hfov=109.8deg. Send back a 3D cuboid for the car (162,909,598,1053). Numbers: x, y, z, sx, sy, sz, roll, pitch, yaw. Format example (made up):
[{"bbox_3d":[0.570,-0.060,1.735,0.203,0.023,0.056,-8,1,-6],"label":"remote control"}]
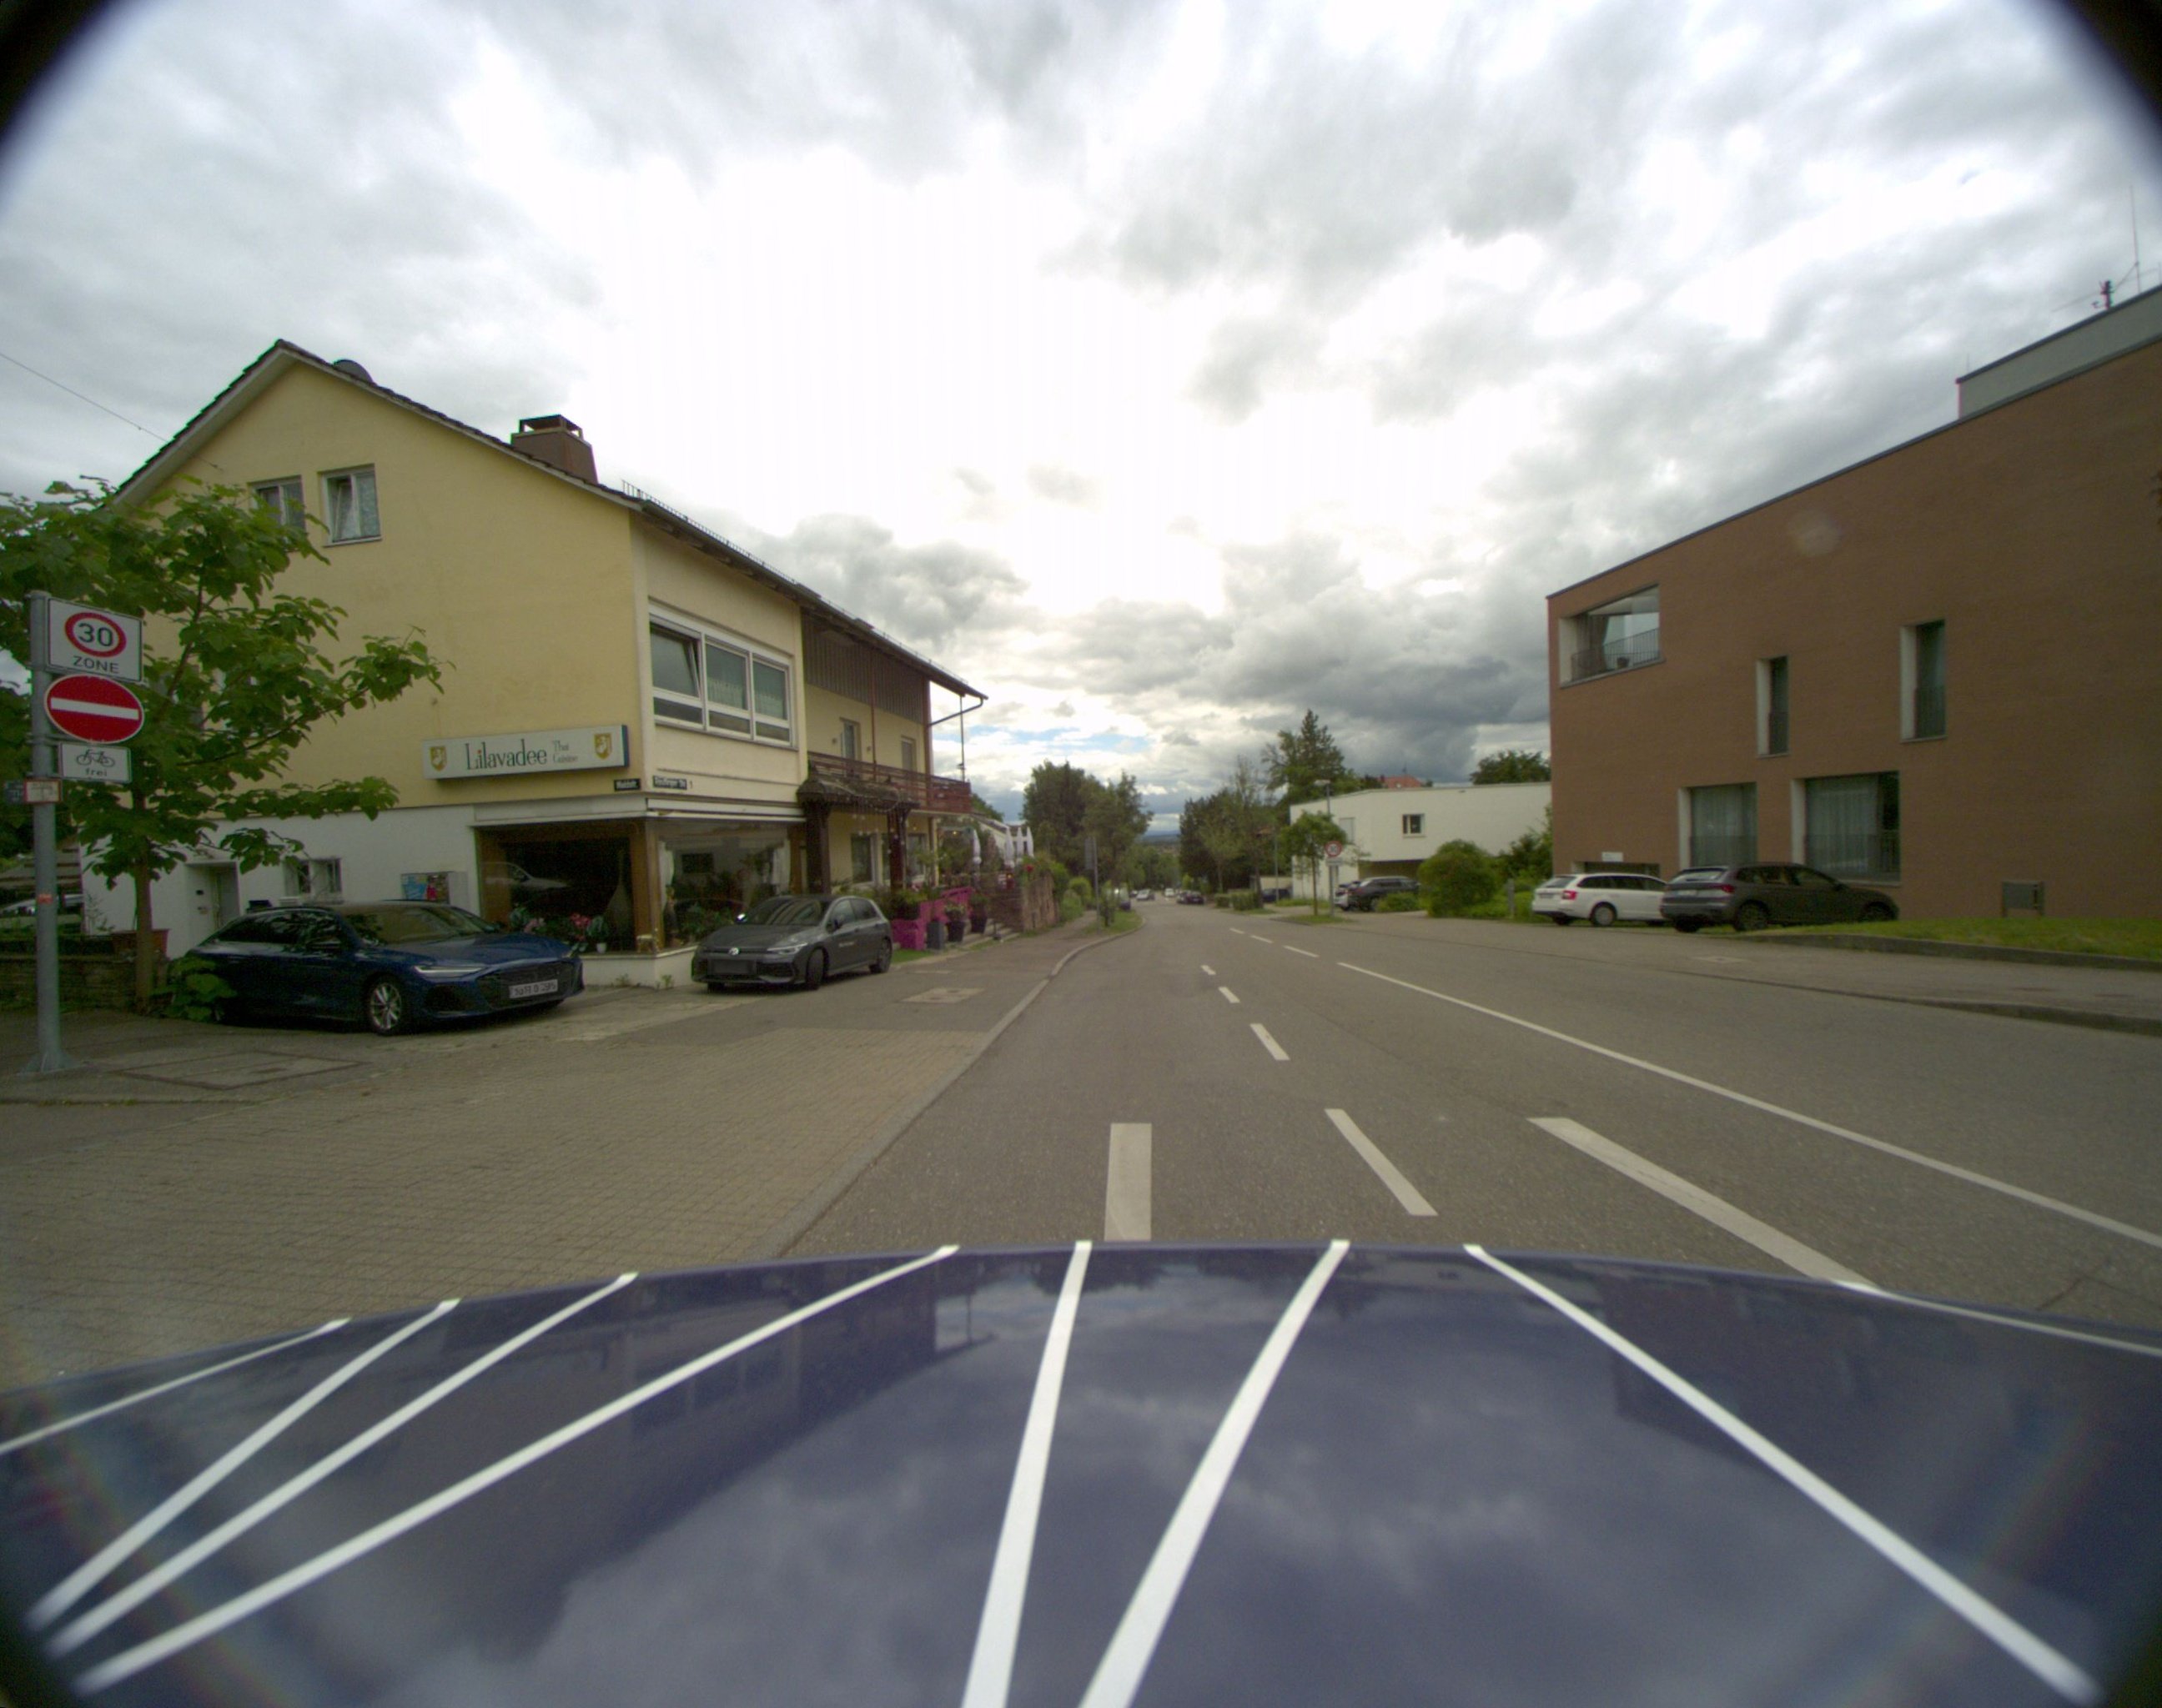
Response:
[{"bbox_3d":[-8.531,1.411,9.287,4.739,1.378,1.802,-2,-1,18],"label":"car"}]

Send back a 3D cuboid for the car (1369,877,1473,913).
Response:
[{"bbox_3d":[15.600,1.885,35.033,3.996,1.476,1.728,-2,-3,3],"label":"car"}]

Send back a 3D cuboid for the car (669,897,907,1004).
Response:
[{"bbox_3d":[-4.545,1.471,12.625,1.796,1.452,4.332,-1,-4,8],"label":"car"}]

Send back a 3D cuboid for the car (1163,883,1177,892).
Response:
[{"bbox_3d":[16.208,6.038,137.971,1.884,1.412,4.368,-1,-1,-2],"label":"car"}]

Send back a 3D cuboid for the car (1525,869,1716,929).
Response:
[{"bbox_3d":[14.613,1.210,20.711,3.998,1.476,1.727,-1,-3,-3],"label":"car"}]

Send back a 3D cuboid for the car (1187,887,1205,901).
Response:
[{"bbox_3d":[12.181,4.279,80.577,1.661,1.412,4.004,-2,-3,6],"label":"car"}]

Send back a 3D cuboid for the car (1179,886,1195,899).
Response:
[{"bbox_3d":[12.498,4.533,89.574,1.661,1.412,4.372,-2,-3,6],"label":"car"}]

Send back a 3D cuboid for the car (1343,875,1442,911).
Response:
[{"bbox_3d":[15.054,1.883,36.875,3.996,1.585,1.795,-2,-3,3],"label":"car"}]

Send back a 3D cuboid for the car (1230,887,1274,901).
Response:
[{"bbox_3d":[16.547,3.865,73.727,3.995,1.278,1.665,-2,-3,7],"label":"car"}]

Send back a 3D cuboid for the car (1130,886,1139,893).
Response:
[{"bbox_3d":[12.858,8.542,183.800,1.883,1.412,4.369,-1,-1,1],"label":"car"}]

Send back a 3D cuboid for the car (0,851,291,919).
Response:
[{"bbox_3d":[-22.733,0.800,18.586,1.795,1.452,4.336,-2,-4,22],"label":"car"}]

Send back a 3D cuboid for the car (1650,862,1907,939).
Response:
[{"bbox_3d":[14.911,0.987,16.379,3.998,1.476,1.727,-1,-3,-3],"label":"car"}]

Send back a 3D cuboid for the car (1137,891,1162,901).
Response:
[{"bbox_3d":[10.275,6.286,113.921,1.722,1.476,4.009,-4,-4,42],"label":"car"}]
